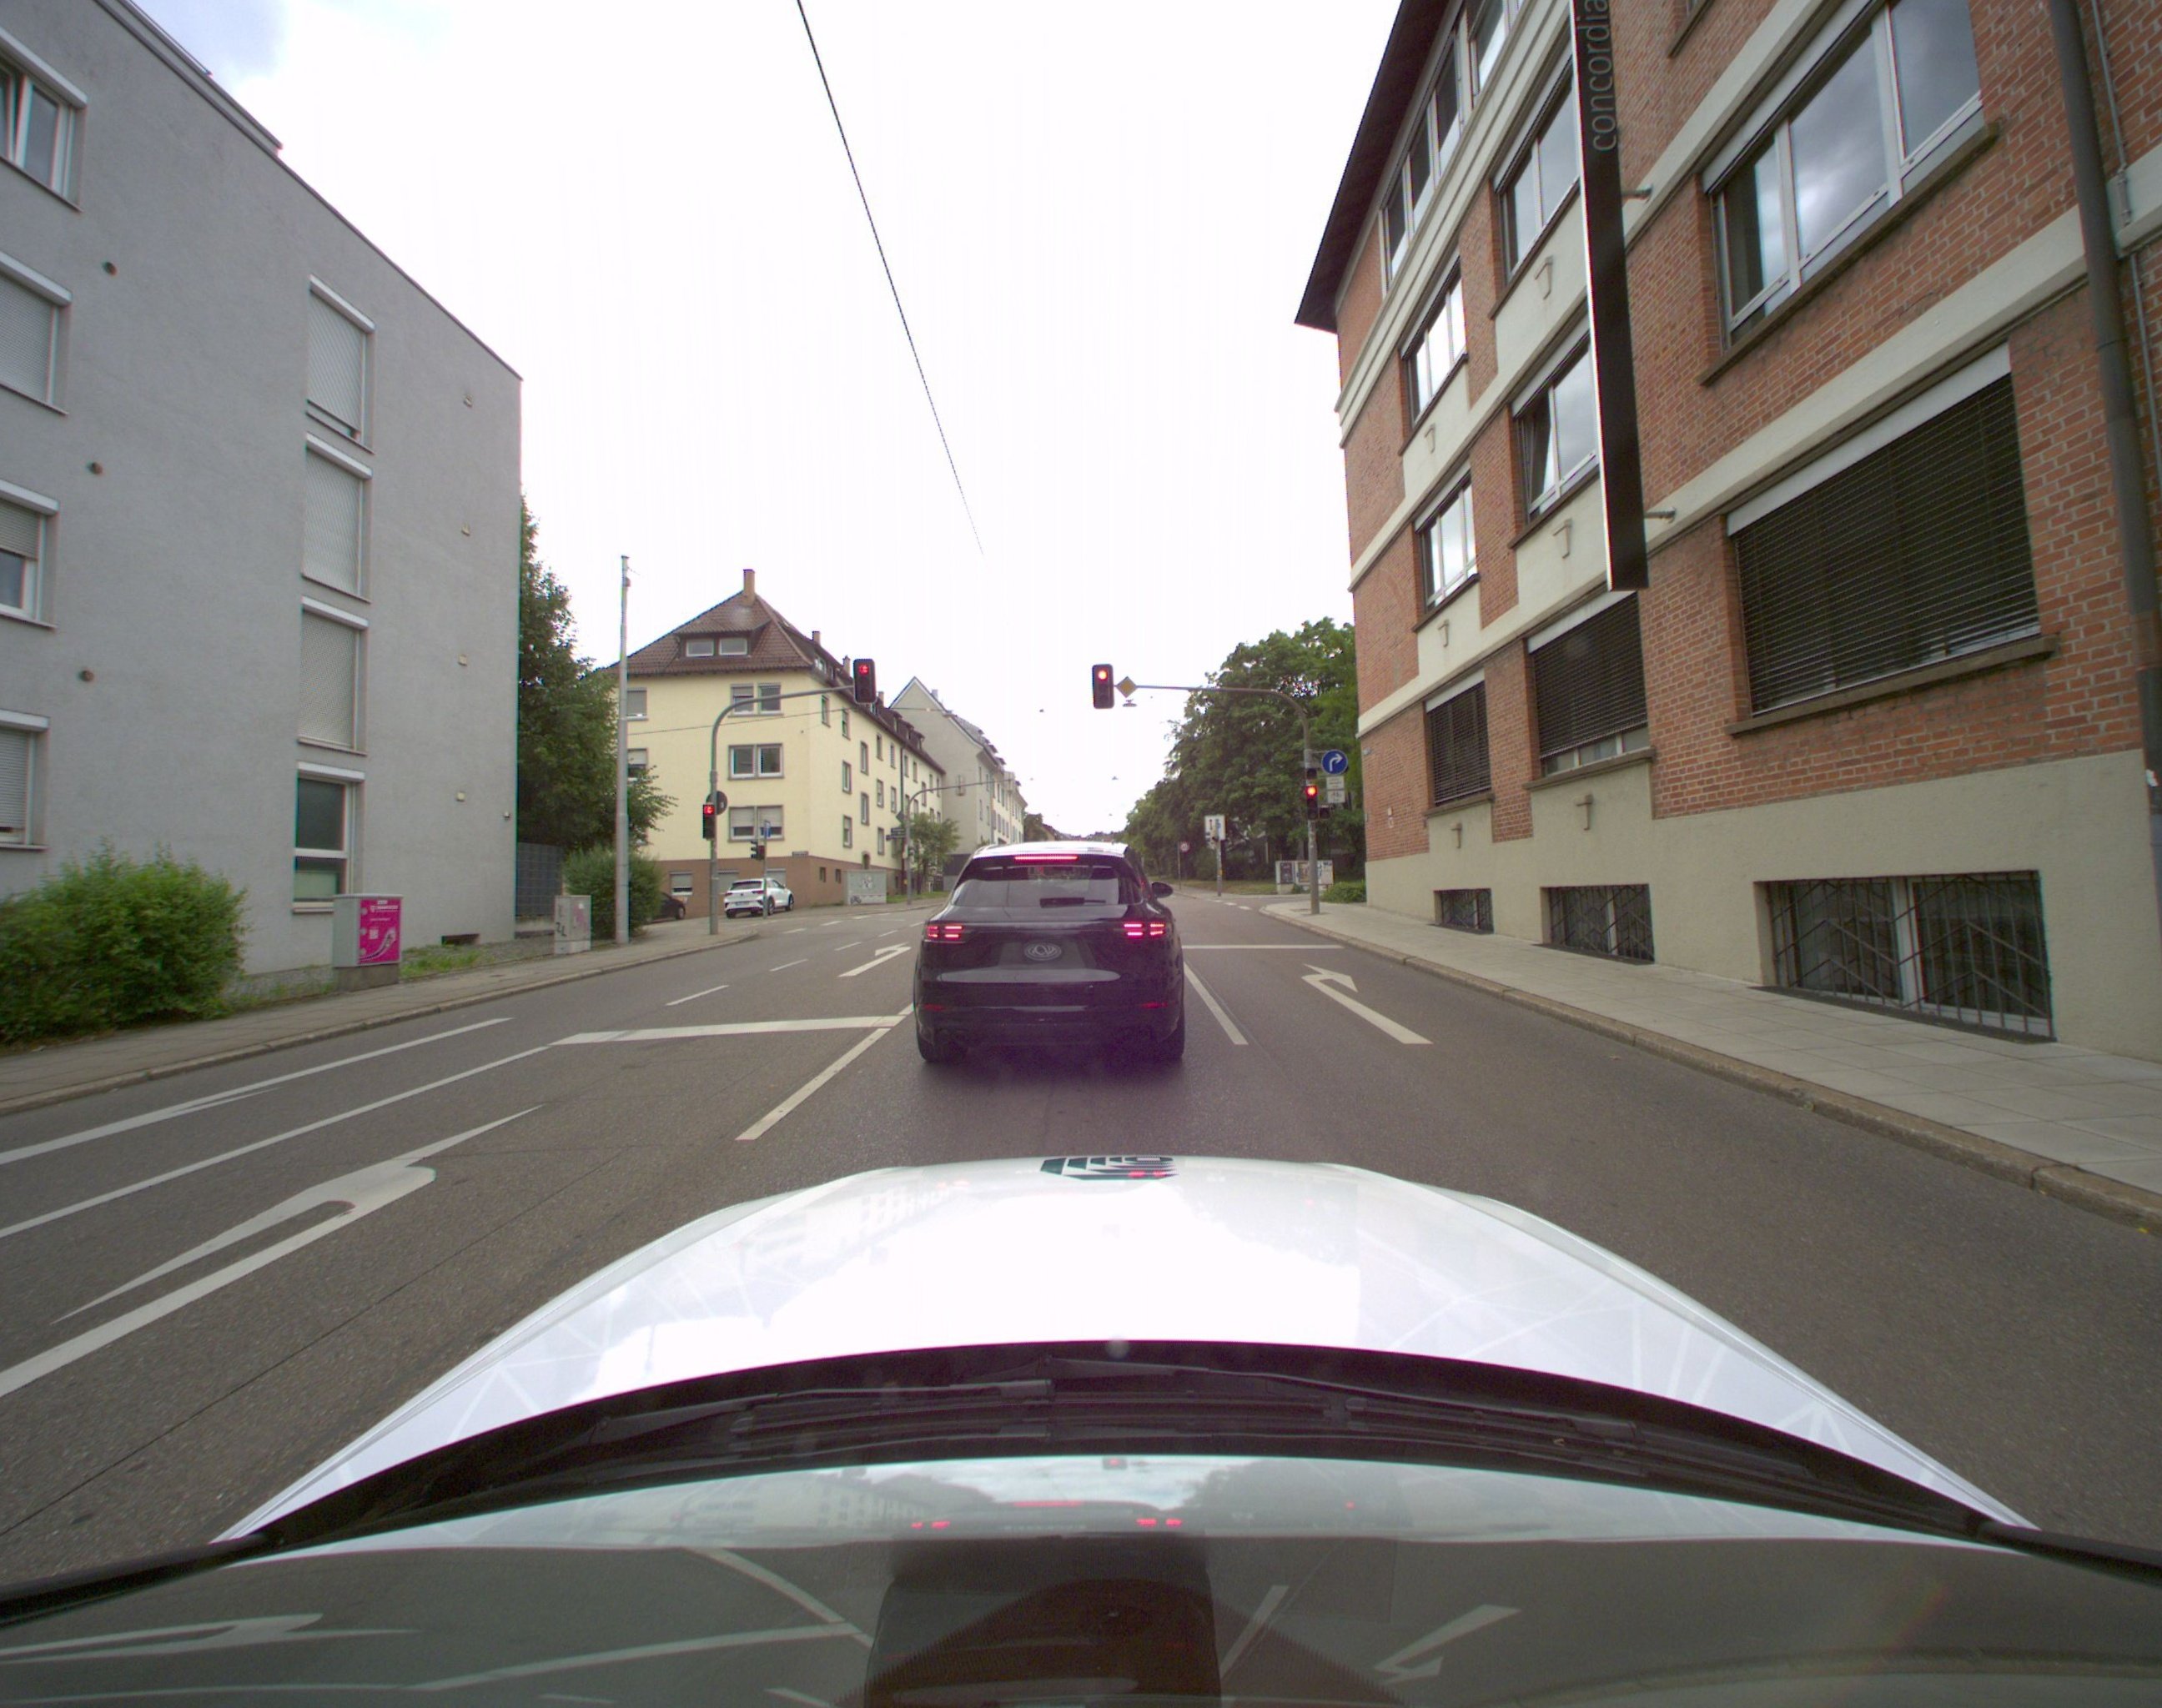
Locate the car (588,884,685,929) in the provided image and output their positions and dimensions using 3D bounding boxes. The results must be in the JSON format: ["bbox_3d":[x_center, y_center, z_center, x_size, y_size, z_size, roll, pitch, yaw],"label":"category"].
[{"bbox_3d":[-18.646,2.160,34.374,1.664,1.546,4.103,-5,-1,2],"label":"car"}]

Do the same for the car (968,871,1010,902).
[{"bbox_3d":[-5.133,1.804,45.787,1.657,1.519,3.742,-5,-1,2],"label":"car"}]

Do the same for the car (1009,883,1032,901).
[{"bbox_3d":[-5.164,3.210,69.730,1.665,1.362,3.998,-1,-1,-1],"label":"car"}]

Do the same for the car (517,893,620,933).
[{"bbox_3d":[-21.327,2.433,34.062,1.663,1.362,4.001,-1,-1,2],"label":"car"}]

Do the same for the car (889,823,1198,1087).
[{"bbox_3d":[-0.182,0.670,7.270,1.986,1.697,4.001,0,-1,2],"label":"car"}]

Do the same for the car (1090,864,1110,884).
[{"bbox_3d":[1.566,1.636,68.162,1.683,1.552,3.888,0,-1,0],"label":"car"}]

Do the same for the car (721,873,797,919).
[{"bbox_3d":[-13.522,1.728,34.397,1.666,1.662,3.996,-4,0,-3],"label":"car"}]
